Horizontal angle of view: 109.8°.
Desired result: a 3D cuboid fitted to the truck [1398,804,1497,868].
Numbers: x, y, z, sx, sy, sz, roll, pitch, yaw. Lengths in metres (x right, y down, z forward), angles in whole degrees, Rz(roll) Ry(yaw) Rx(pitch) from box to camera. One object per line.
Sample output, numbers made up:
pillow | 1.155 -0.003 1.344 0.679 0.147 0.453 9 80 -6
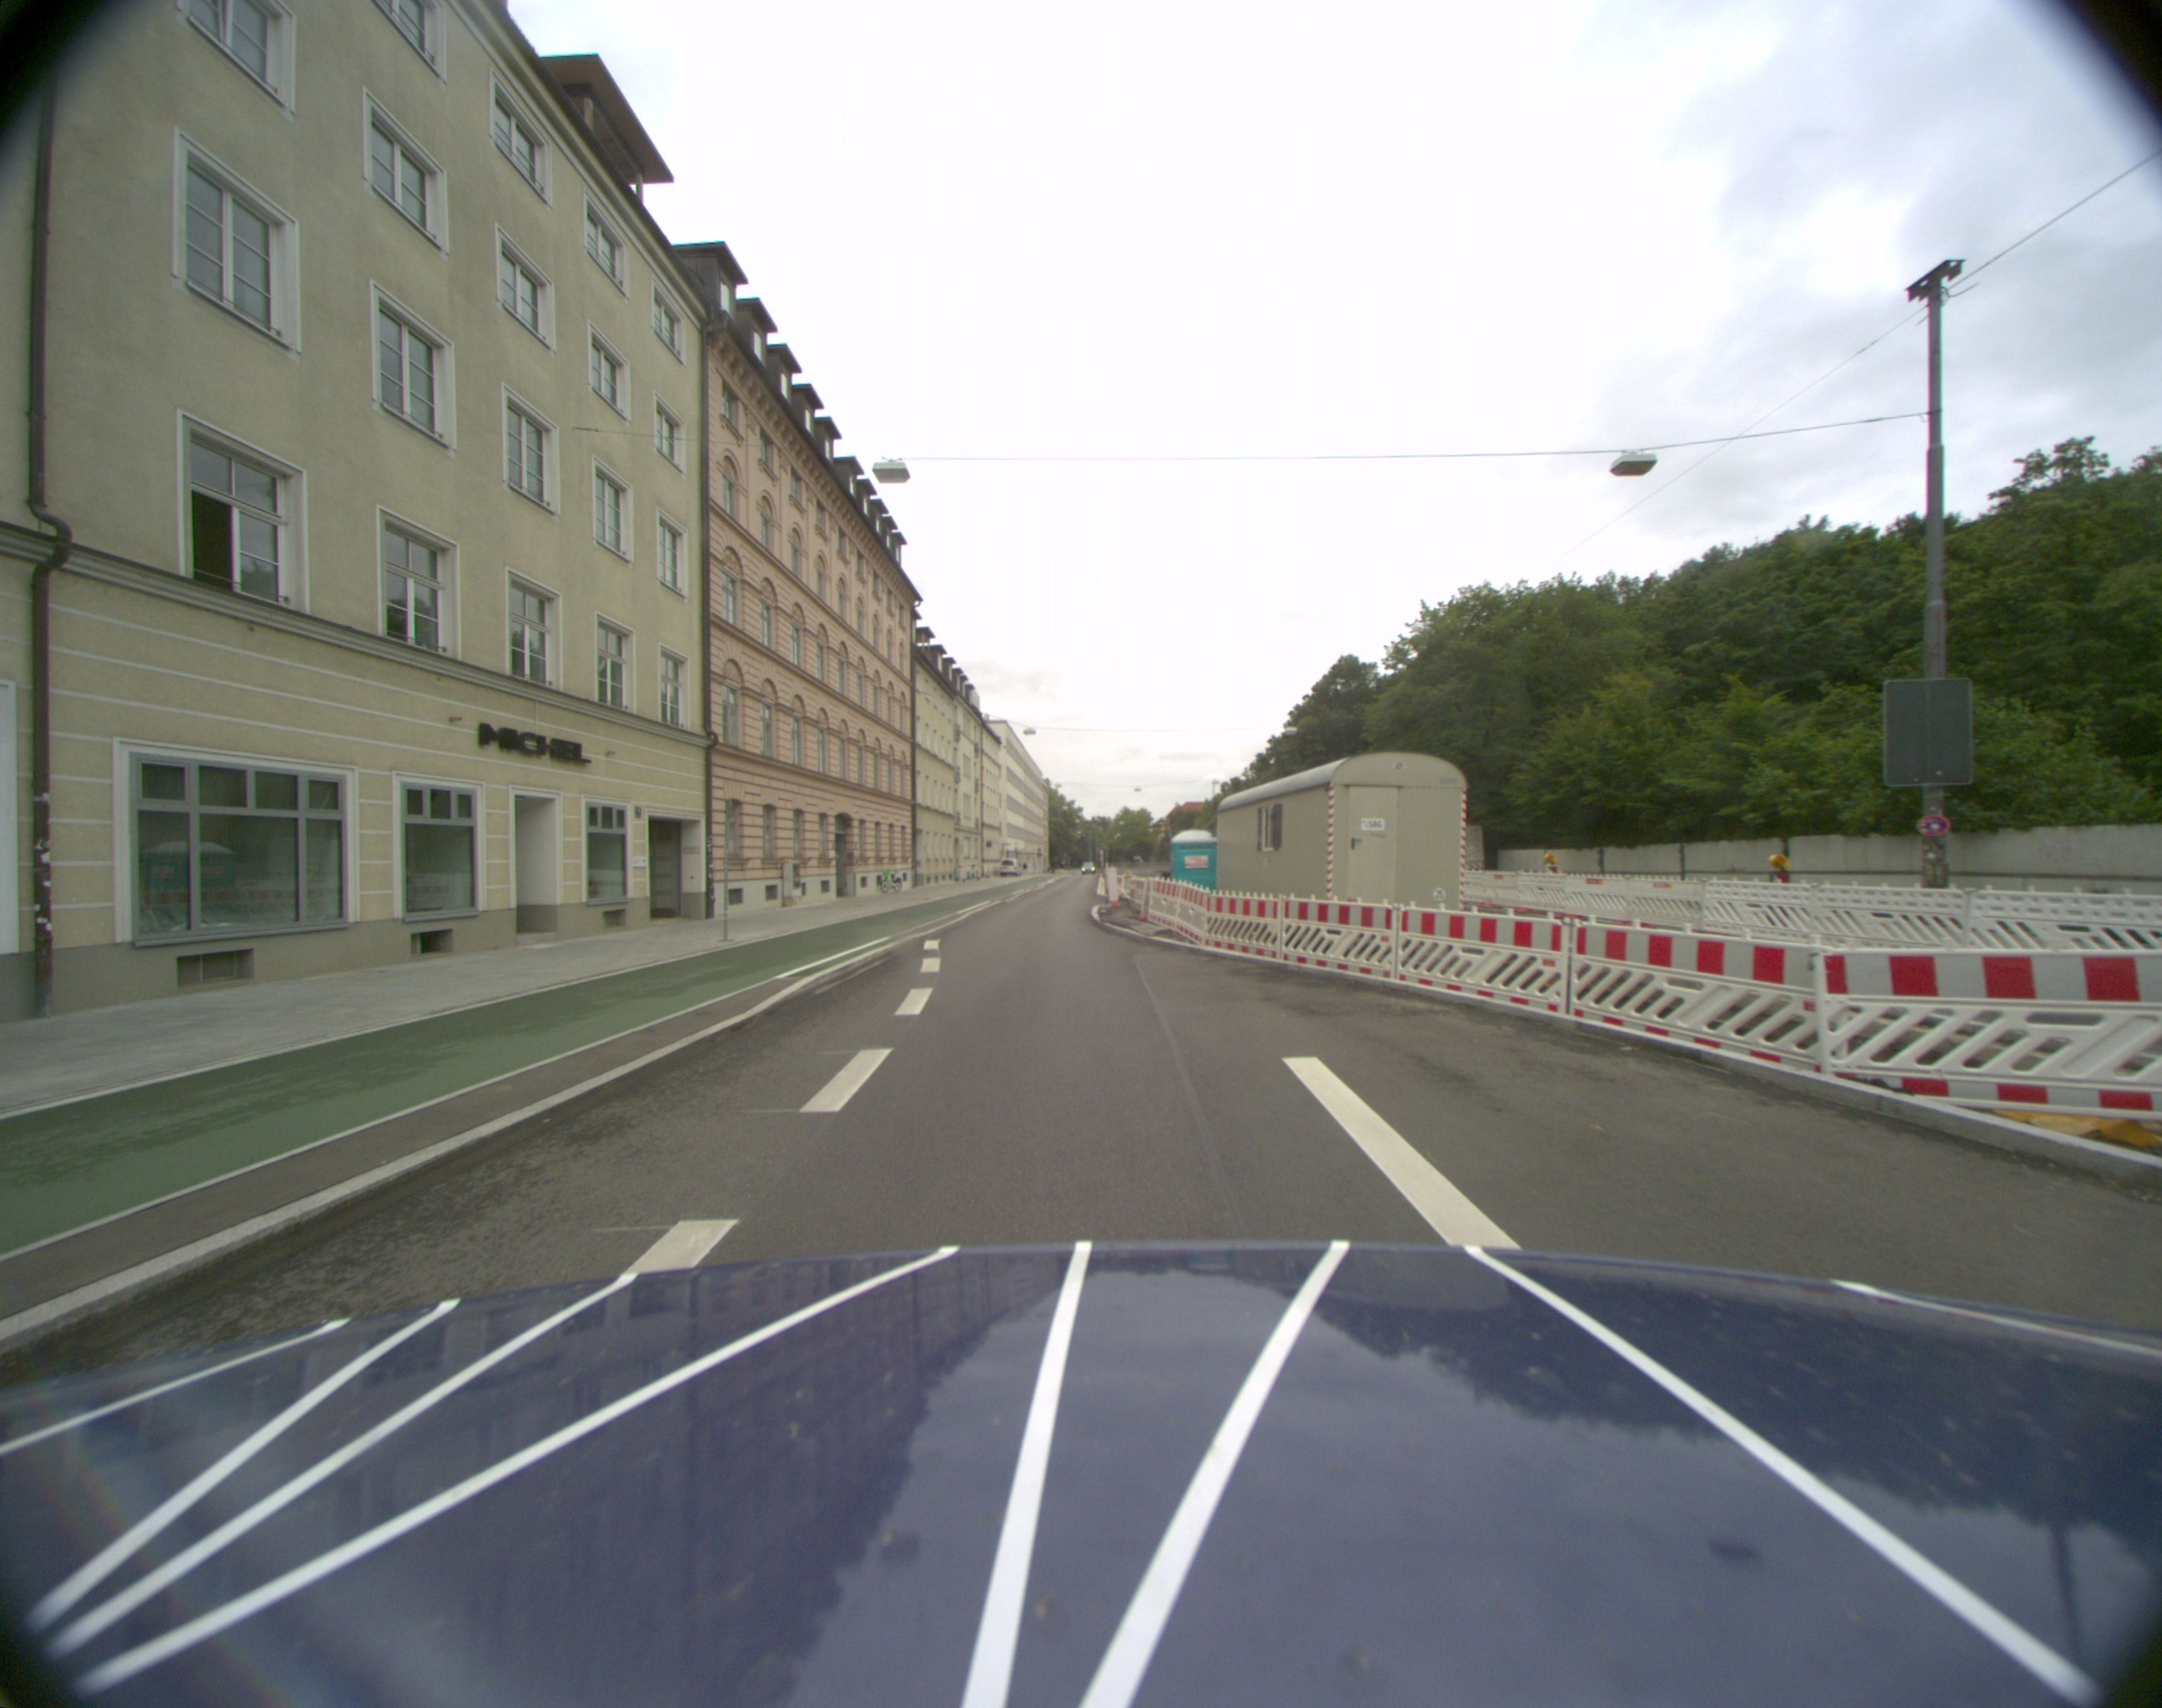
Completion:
truck | 16.918 -0.742 35.485 1.998 2.712 5.871 -1 0 2

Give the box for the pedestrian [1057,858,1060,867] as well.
pedestrian | -4.198 1.595 144.359 0.514 1.825 0.602 -1 0 2

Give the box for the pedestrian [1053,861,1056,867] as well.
pedestrian | -5.086 1.915 145.521 0.367 1.239 0.470 -1 0 2

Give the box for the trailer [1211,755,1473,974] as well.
trailer | 4.519 0.167 15.023 2.233 3.224 7.517 0 0 -3

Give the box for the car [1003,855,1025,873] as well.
car | -6.936 1.039 78.702 1.737 1.739 4.436 0 0 2

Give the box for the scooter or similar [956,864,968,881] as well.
scooter or similar | -8.817 1.370 56.118 0.246 1.224 1.122 2 1 27

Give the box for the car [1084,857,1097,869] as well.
car | 1.389 1.372 114.670 1.998 1.738 4.000 -1 0 0

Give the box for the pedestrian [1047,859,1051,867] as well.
pedestrian | -6.127 1.705 145.821 0.753 1.610 0.704 -1 0 2

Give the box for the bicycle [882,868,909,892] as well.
bicycle | -9.206 1.276 37.769 0.426 1.167 1.734 0 0 19

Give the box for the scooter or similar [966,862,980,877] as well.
scooter or similar | -8.660 1.237 60.907 1.121 1.224 0.246 1 1 -32

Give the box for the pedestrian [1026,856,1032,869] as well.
pedestrian | -6.644 1.127 97.818 0.666 1.626 0.737 0 0 1
